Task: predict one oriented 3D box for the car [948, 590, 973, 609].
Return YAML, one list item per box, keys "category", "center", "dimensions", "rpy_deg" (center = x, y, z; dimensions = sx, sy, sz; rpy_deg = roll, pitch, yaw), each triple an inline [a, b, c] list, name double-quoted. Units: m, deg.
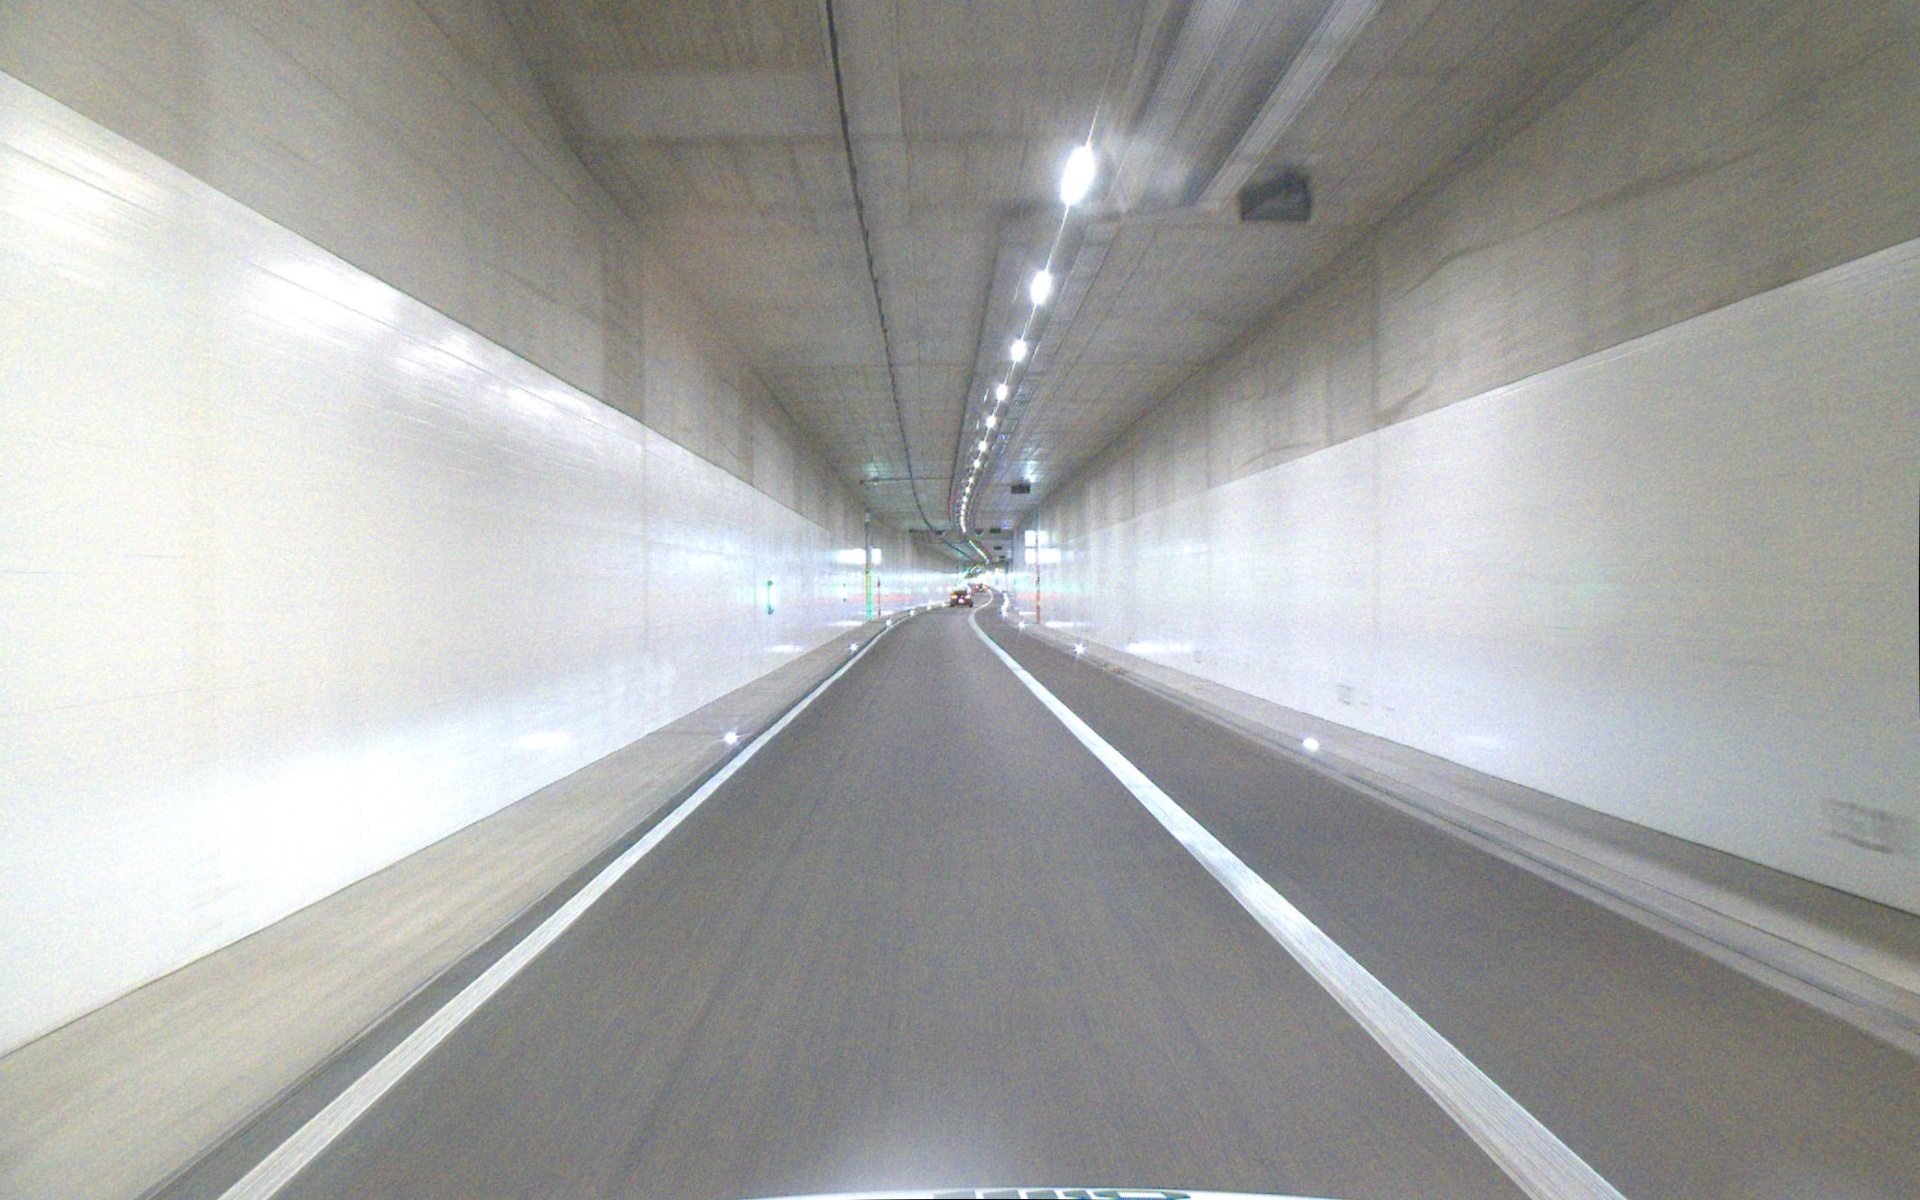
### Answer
- category: "car"
  center: [0.003, -0.075, 136.222]
  dimensions: [1.953, 1.445, 3.999]
  rpy_deg: [2, 0, -1]
